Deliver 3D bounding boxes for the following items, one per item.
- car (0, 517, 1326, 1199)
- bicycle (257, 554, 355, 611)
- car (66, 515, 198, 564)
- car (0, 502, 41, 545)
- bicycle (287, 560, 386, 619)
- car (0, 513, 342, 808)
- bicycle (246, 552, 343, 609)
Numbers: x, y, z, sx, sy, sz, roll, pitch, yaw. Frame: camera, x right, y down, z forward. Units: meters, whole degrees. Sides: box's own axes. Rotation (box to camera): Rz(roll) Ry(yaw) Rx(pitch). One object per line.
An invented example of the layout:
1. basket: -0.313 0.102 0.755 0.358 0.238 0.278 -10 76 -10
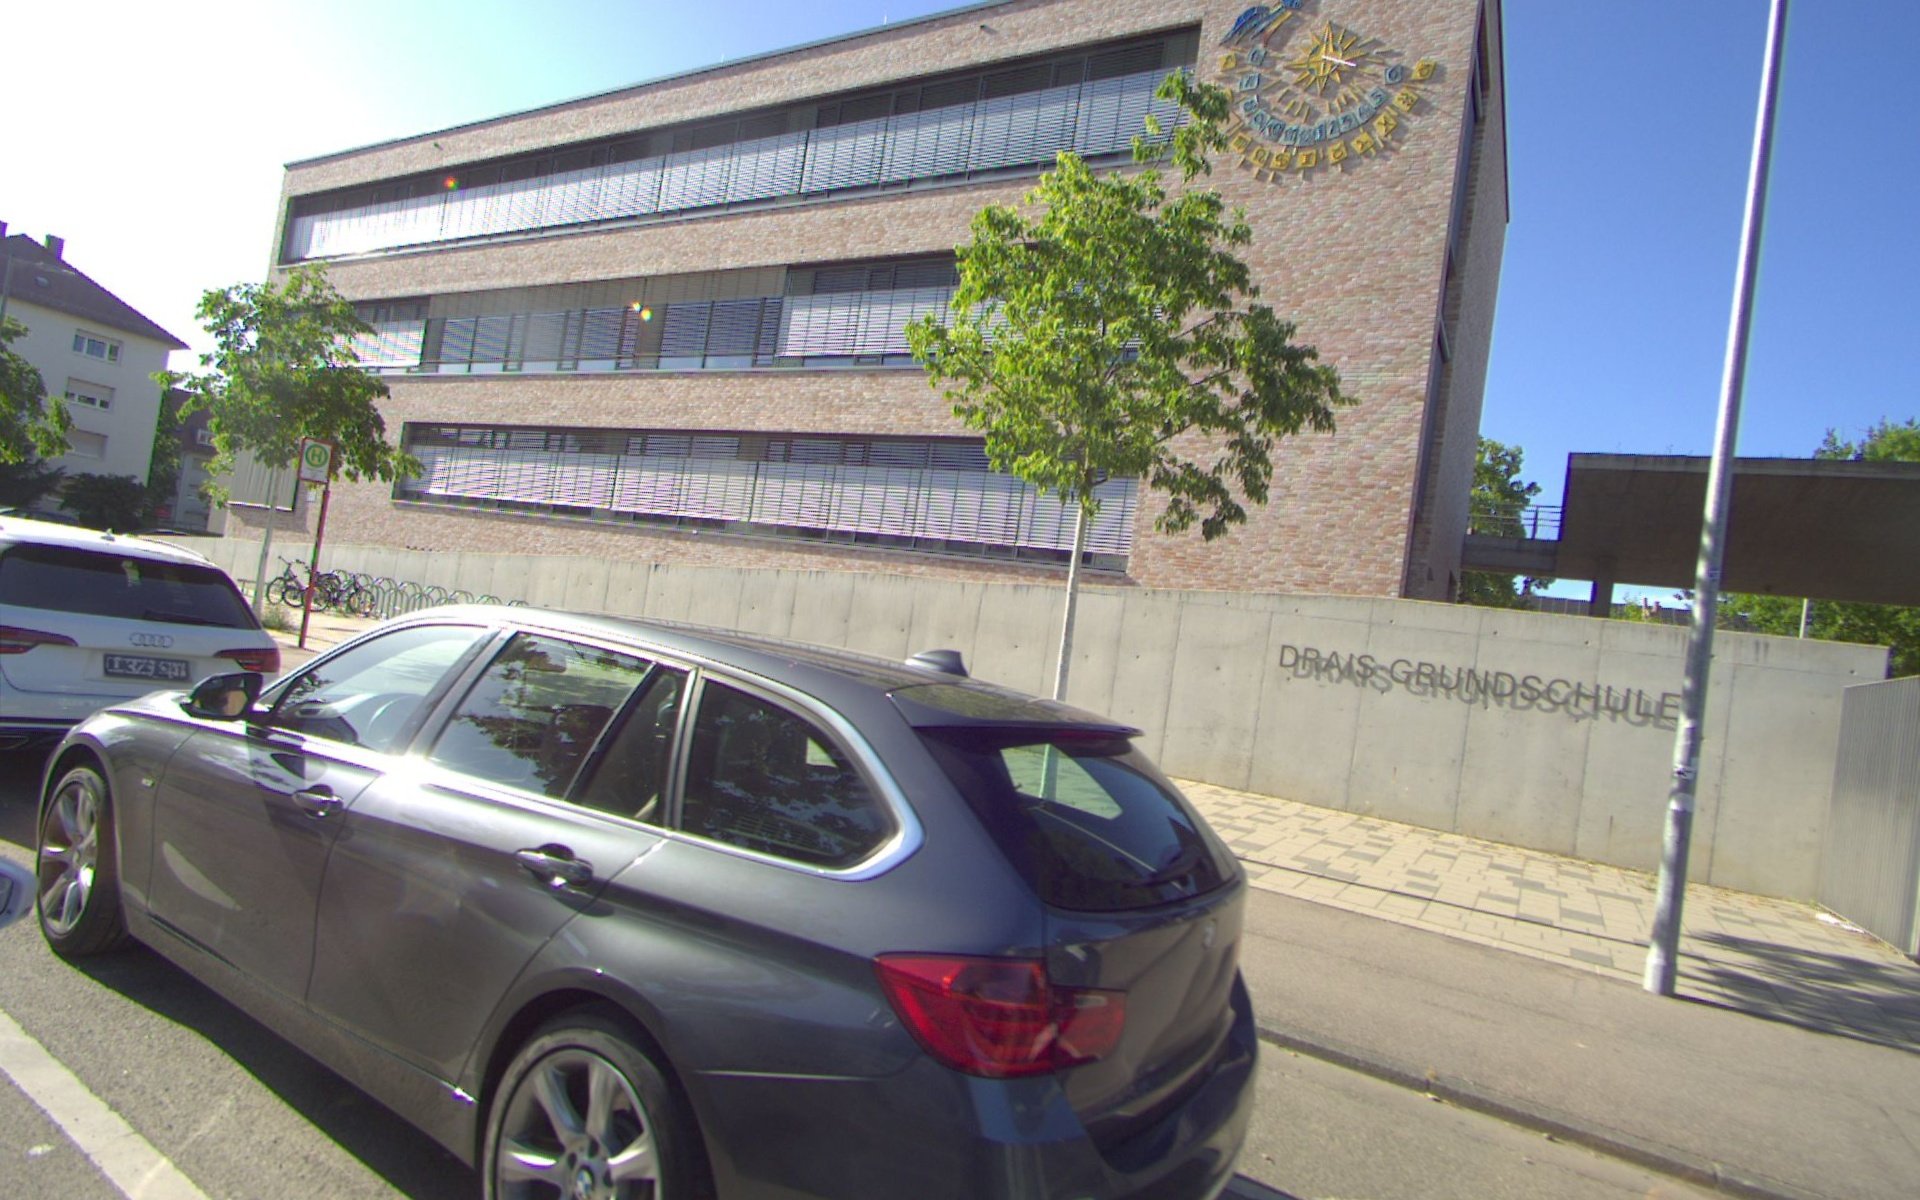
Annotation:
1. car: -1.365 0.723 3.534 4.559 1.436 1.998 6 -3 32
2. bicycle: -15.185 -0.386 23.399 0.491 1.121 1.798 7 -1 29
3. car: -39.949 -2.903 48.655 1.769 1.556 4.494 5 -4 29
4. car: -42.823 -3.582 43.230 1.769 1.639 4.494 5 -4 29
5. bicycle: -14.034 -0.220 22.695 0.491 1.121 1.798 7 -1 29
6. car: -6.314 0.154 6.631 4.580 1.436 1.799 7 -3 31
7. bicycle: -15.631 -0.439 23.670 0.491 1.121 1.798 7 -1 29
